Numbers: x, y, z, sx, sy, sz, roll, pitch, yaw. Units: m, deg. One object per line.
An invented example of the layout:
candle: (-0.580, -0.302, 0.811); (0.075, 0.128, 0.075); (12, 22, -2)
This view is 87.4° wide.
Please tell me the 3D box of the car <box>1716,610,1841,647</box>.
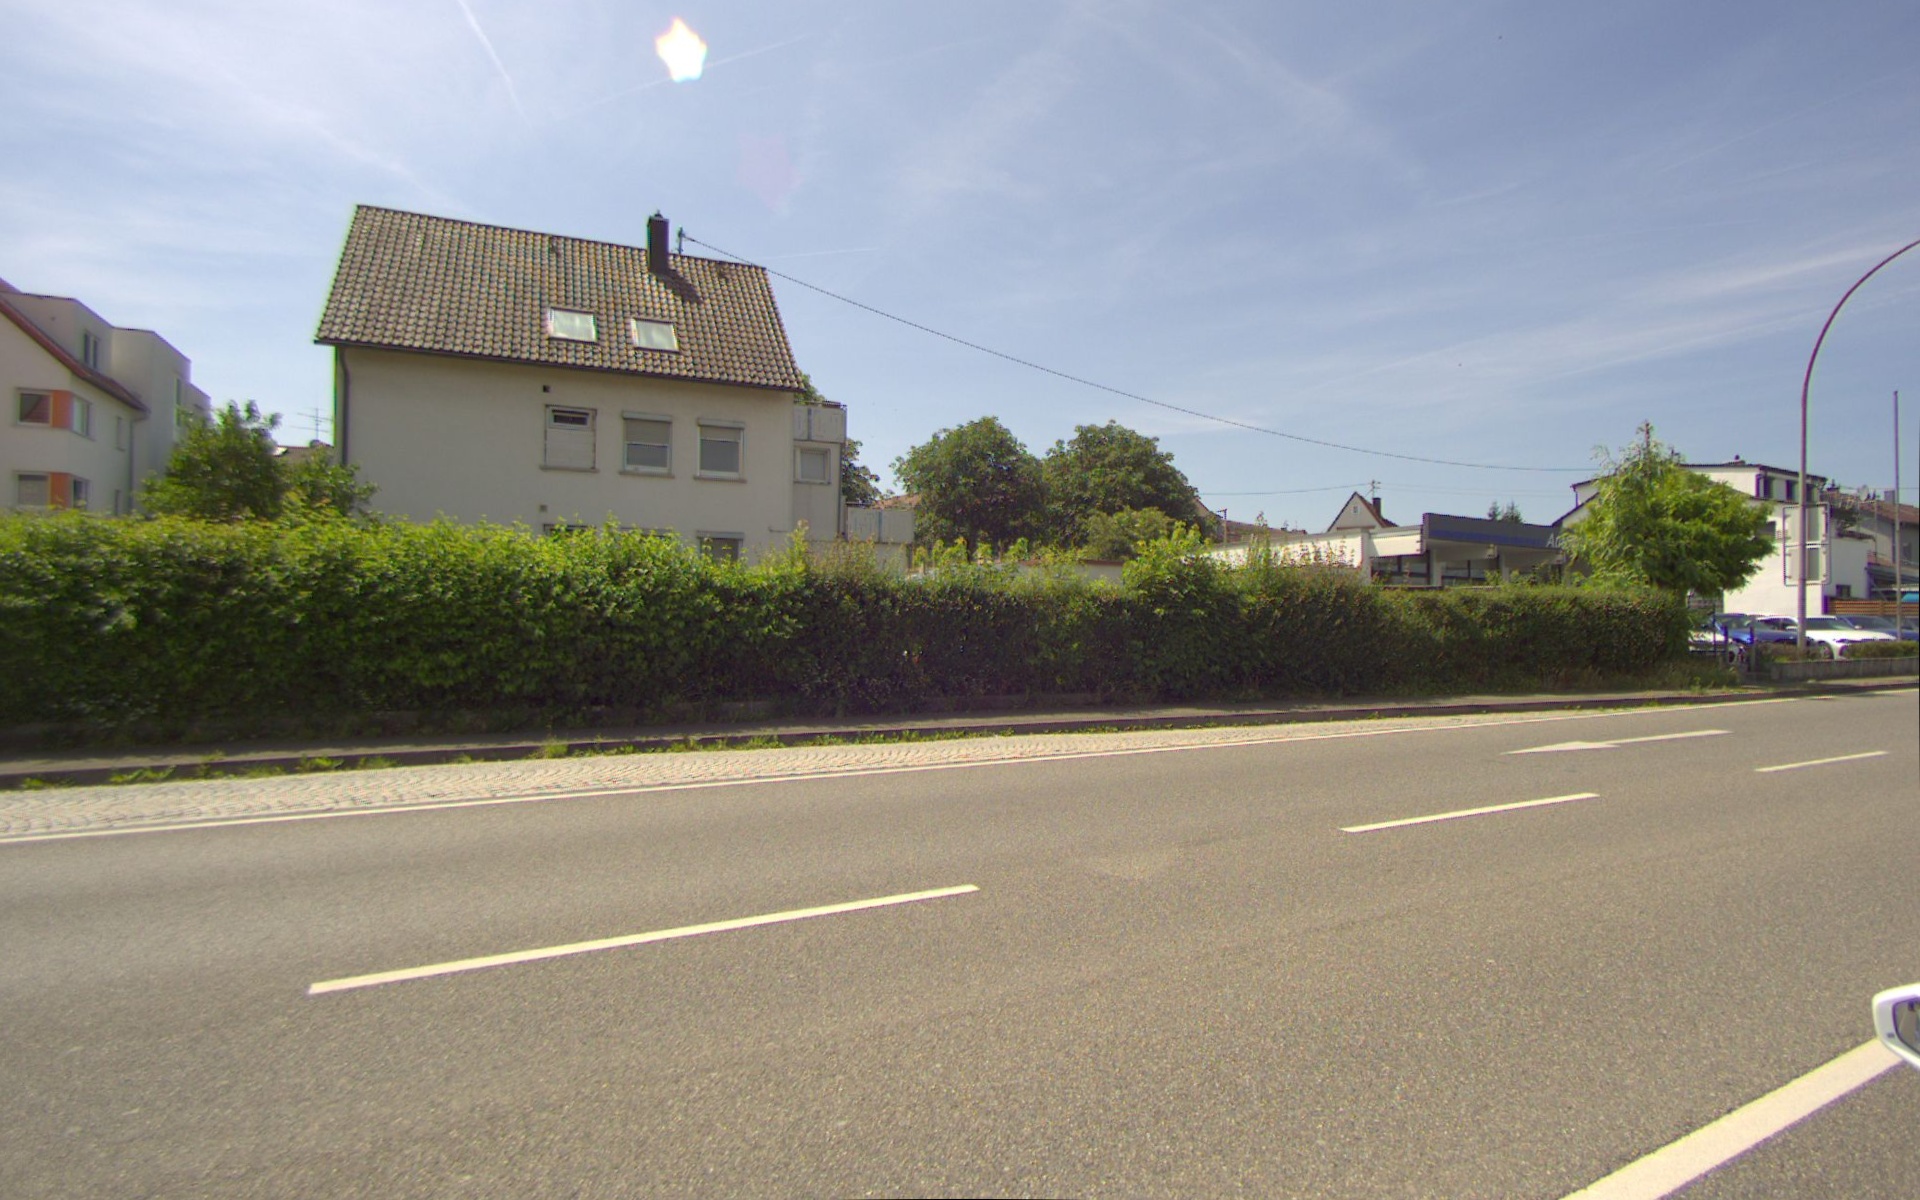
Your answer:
car: (35.950, 1.218, 44.254); (1.804, 1.530, 3.988); (1, 0, -15)

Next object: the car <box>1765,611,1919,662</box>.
car: (28.394, 1.117, 31.972); (1.822, 1.467, 4.340); (2, 0, -4)

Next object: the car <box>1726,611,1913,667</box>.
car: (25.080, 1.079, 29.569); (1.820, 1.467, 4.517); (1, 0, 4)

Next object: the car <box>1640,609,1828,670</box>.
car: (21.031, 1.015, 27.559); (1.820, 1.467, 4.343); (2, 0, 1)

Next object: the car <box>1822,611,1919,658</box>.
car: (31.413, 1.154, 33.252); (1.862, 1.467, 4.340); (2, 0, -3)

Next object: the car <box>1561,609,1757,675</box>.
car: (17.644, 0.994, 25.684); (1.820, 1.467, 4.581); (2, 0, 1)

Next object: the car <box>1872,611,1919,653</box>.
car: (34.836, 1.169, 35.115); (1.821, 1.467, 4.340); (2, 0, -3)
